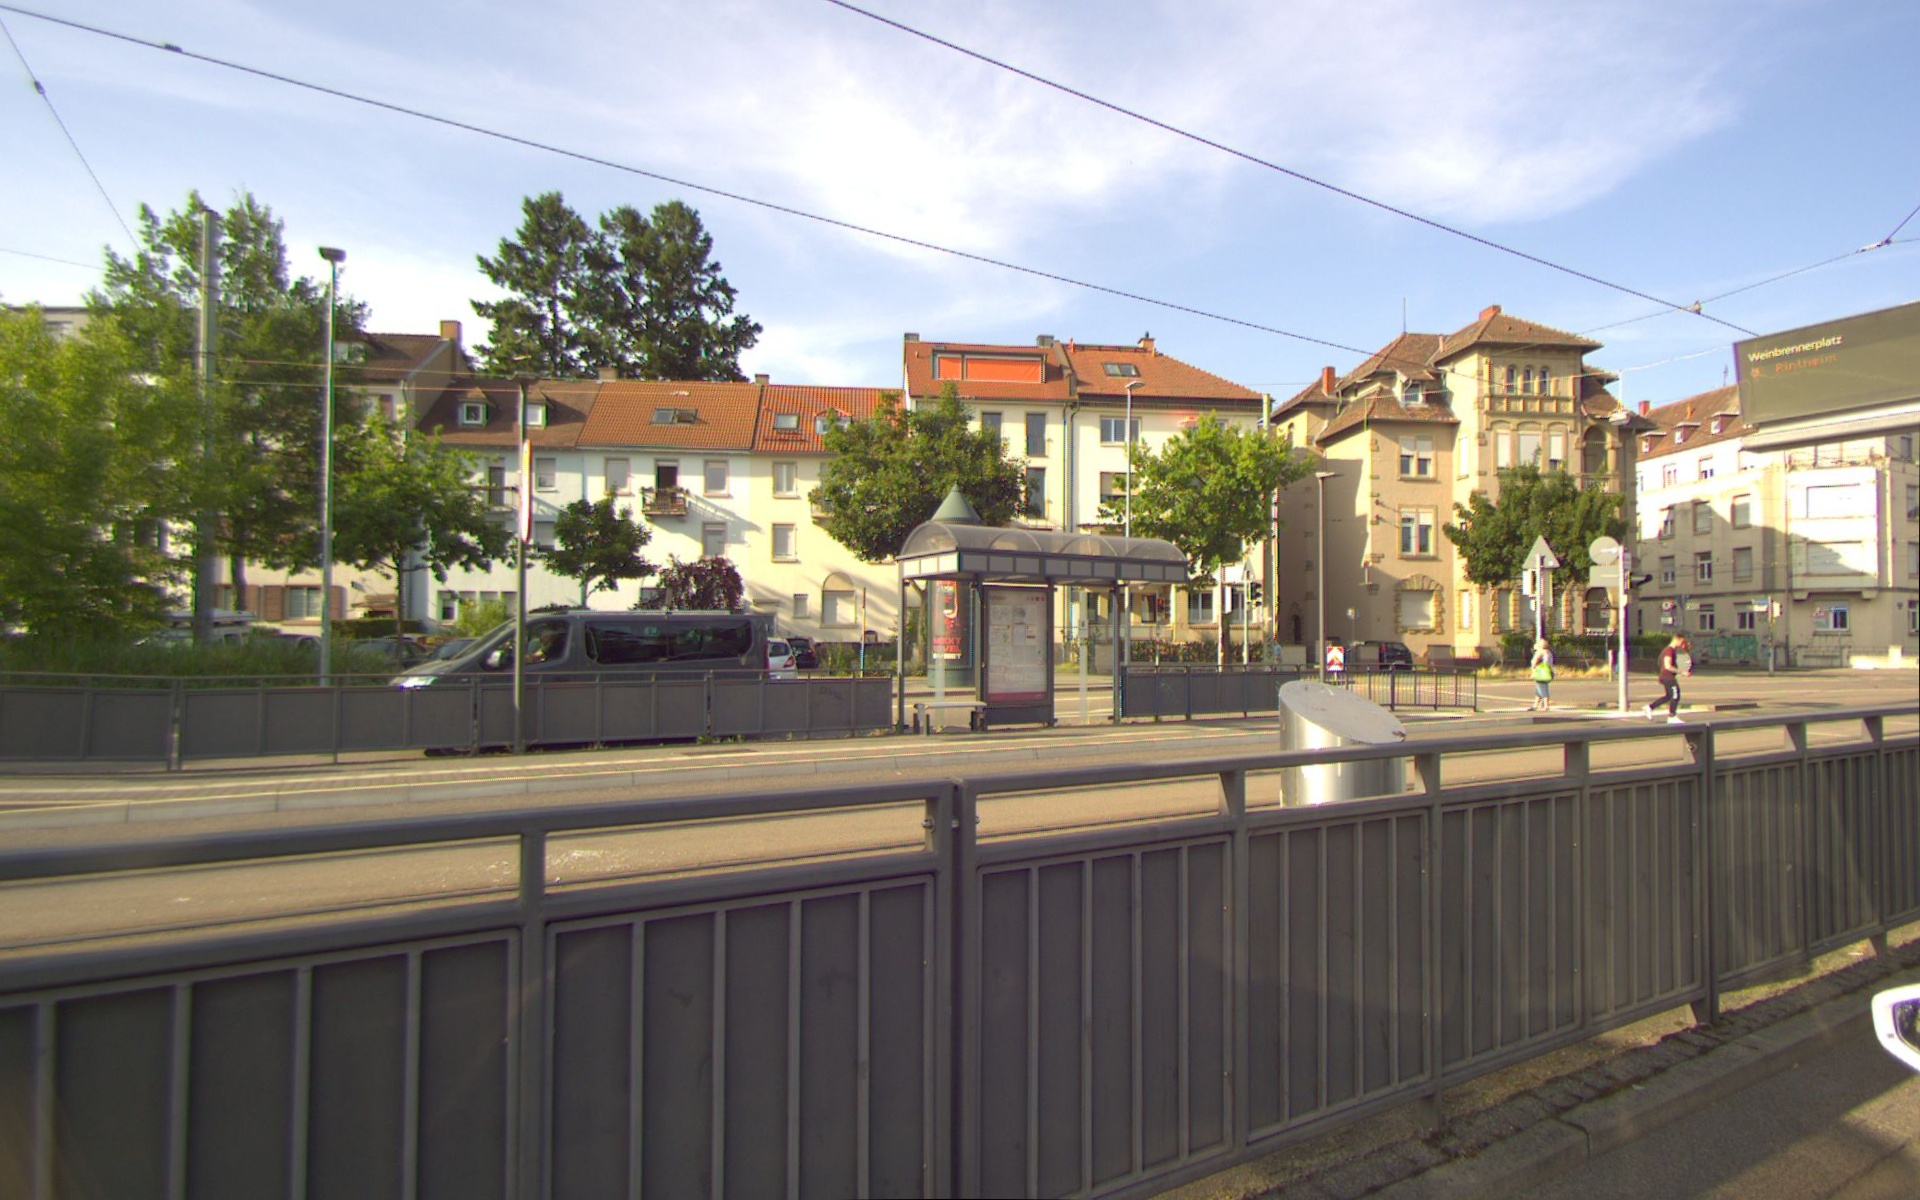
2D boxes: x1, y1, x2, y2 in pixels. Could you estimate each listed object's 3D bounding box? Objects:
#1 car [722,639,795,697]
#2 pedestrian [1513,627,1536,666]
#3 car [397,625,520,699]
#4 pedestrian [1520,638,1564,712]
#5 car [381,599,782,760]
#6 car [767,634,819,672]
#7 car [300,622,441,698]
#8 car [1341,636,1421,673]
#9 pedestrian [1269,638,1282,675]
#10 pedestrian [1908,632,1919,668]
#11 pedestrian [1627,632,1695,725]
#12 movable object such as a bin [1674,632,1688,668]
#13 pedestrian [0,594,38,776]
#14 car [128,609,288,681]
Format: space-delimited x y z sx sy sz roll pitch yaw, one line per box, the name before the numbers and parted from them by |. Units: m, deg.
car | -5.409 1.791 27.357 1.740 1.447 3.995 1 -2 -9
pedestrian | 24.473 2.019 43.549 0.592 1.673 0.681 1 -2 -3
car | -13.011 1.586 26.305 1.821 1.777 3.993 1 -2 -11
pedestrian | 12.908 1.651 22.281 0.708 1.610 0.586 2 -2 -34
car | -5.574 1.109 15.060 5.323 2.040 2.136 2 -2 -30
car | -7.184 2.278 43.598 1.821 1.578 3.999 0 -2 -4
car | -14.924 1.487 25.690 1.821 1.777 3.993 1 -2 -11
car | 19.336 2.487 46.357 1.742 1.653 3.998 0 -2 -5
pedestrian | 13.221 2.349 42.060 0.382 1.535 0.405 0 -2 -3
pedestrian | 50.011 2.606 52.334 0.616 1.905 0.659 1 -2 -15
pedestrian | 13.190 1.456 18.917 0.666 1.692 0.874 2 -2 -37
movable object such as a bin | 35.849 2.475 49.944 0.259 1.732 2.379 -1 -2 29
pedestrian | -9.093 0.772 9.237 0.719 1.649 0.703 1 -2 -30
car | -19.997 1.206 26.936 1.821 1.777 3.993 1 -2 -11
